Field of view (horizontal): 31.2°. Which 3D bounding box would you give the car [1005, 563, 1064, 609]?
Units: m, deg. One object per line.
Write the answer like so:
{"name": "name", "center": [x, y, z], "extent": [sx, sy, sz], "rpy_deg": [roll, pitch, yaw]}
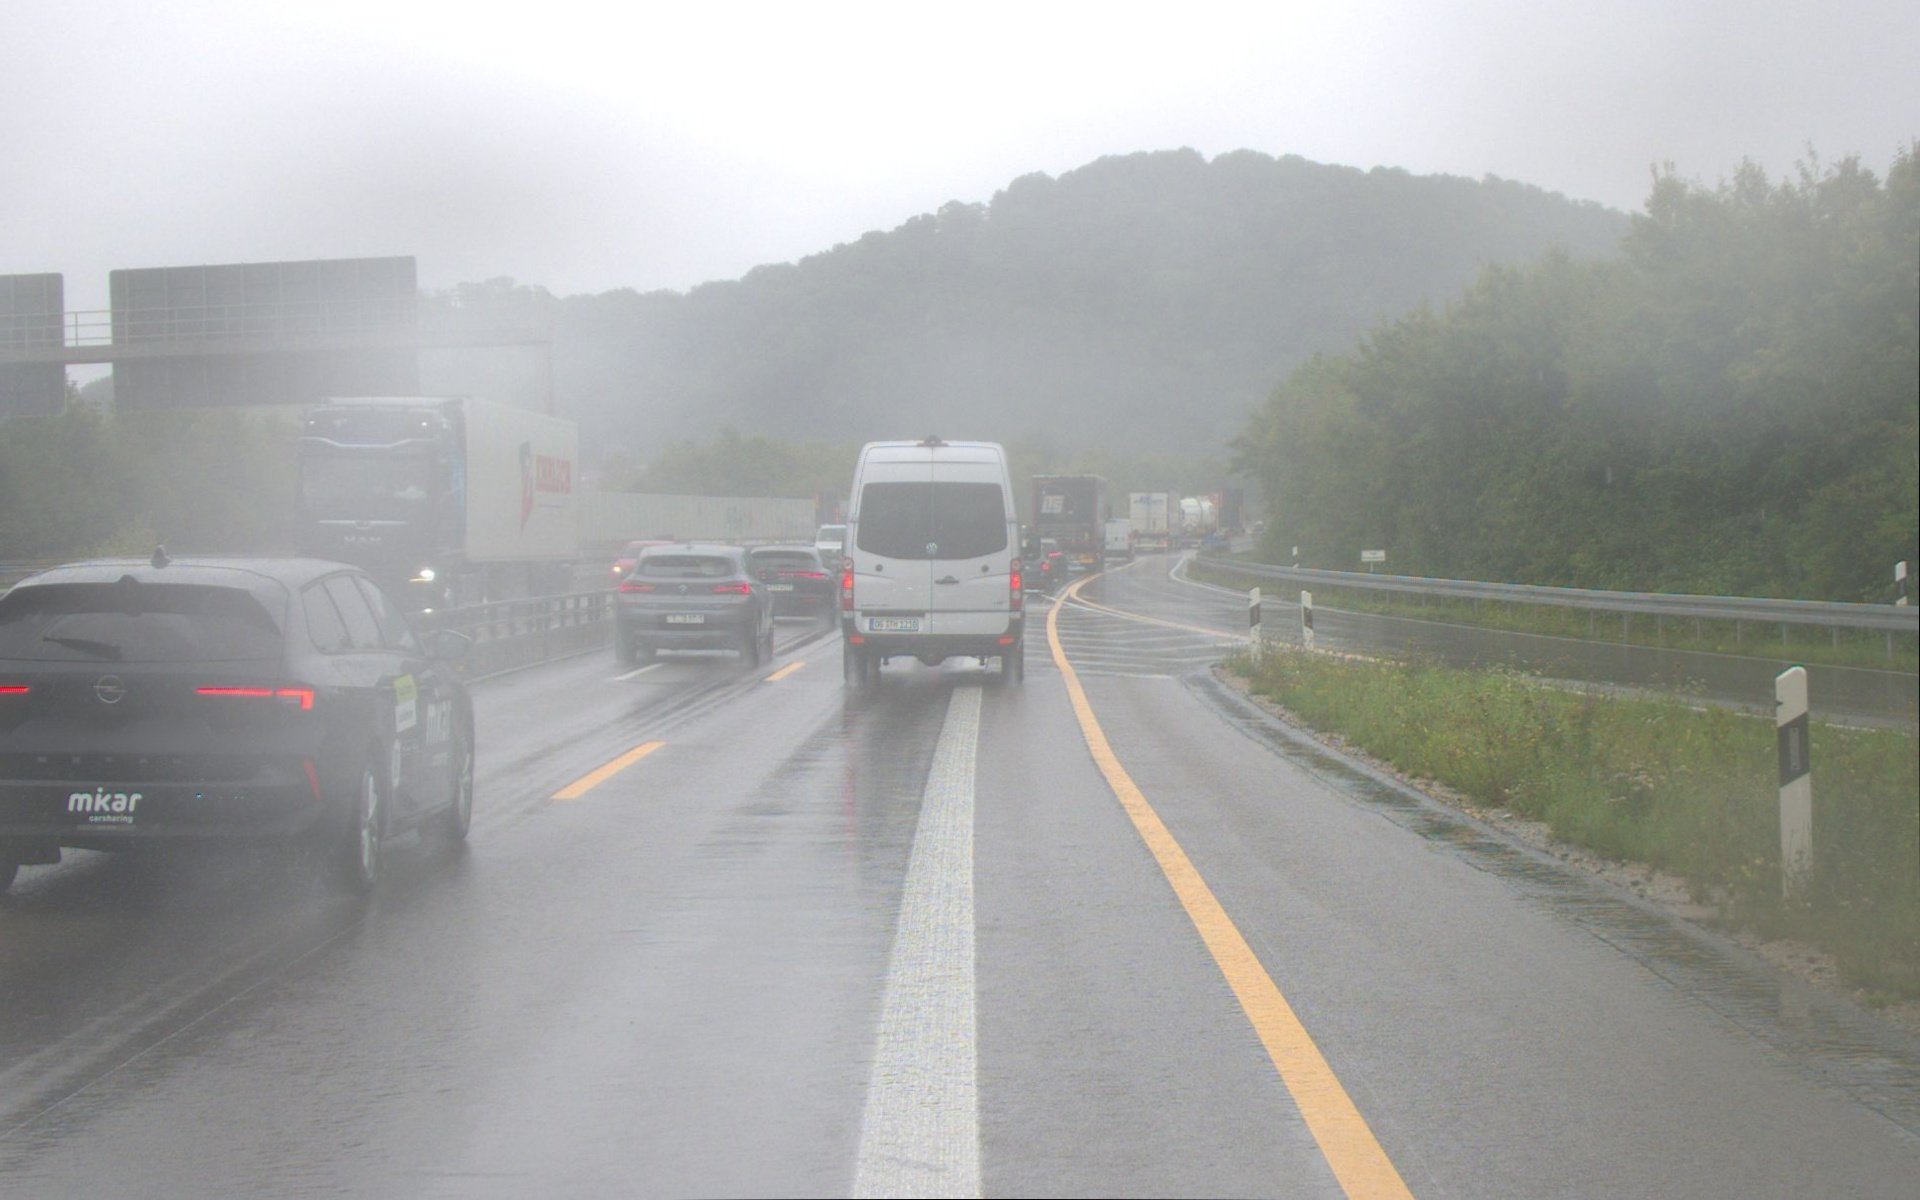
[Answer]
{"name": "car", "center": [2.061, -0.406, 95.646], "extent": [1.384, 1.252, 3.123], "rpy_deg": [0, 1, -3]}

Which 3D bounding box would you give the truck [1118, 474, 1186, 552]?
{"name": "truck", "center": [12.463, -5.552, 222.186], "extent": [3.929, 4.768, 9.905], "rpy_deg": [1, 0, 5]}

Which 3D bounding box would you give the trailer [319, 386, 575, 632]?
{"name": "trailer", "center": [-9.685, -1.619, 66.494], "extent": [2.893, 4.271, 12.895], "rpy_deg": [0, 0, 1]}

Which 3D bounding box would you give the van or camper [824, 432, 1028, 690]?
{"name": "van or camper", "center": [-0.314, -0.436, 38.586], "extent": [2.139, 2.712, 4.648], "rpy_deg": [0, 1, 1]}

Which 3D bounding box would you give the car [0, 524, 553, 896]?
{"name": "car", "center": [-3.057, 0.400, 15.723], "extent": [1.938, 1.422, 4.760], "rpy_deg": [1, 1, -2]}

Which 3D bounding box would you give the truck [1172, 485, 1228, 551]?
{"name": "truck", "center": [18.208, -6.158, 260.563], "extent": [3.929, 4.768, 9.905], "rpy_deg": [1, 0, 5]}

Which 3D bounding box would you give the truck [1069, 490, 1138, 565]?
{"name": "truck", "center": [7.590, -3.810, 182.957], "extent": [3.320, 3.749, 9.907], "rpy_deg": [1, 0, 1]}

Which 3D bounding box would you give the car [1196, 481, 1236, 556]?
{"name": "car", "center": [14.451, -4.558, 194.495], "extent": [2.058, 4.177, 6.745], "rpy_deg": [0, 1, 3]}

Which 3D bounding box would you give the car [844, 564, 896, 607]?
{"name": "car", "center": [-2.267, -0.376, 87.091], "extent": [1.262, 1.074, 3.255], "rpy_deg": [0, 1, -1]}

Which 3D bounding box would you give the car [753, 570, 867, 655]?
{"name": "car", "center": [-2.741, 0.211, 63.610], "extent": [1.852, 1.495, 4.000], "rpy_deg": [0, 1, 1]}

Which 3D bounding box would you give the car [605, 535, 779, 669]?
{"name": "car", "center": [-3.420, -0.003, 44.552], "extent": [1.867, 1.653, 3.988], "rpy_deg": [0, 1, 1]}

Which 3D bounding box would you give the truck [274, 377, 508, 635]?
{"name": "truck", "center": [-9.756, -1.560, 59.605], "extent": [2.889, 4.217, 6.326], "rpy_deg": [0, 0, 1]}

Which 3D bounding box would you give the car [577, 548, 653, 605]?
{"name": "car", "center": [-9.530, -0.655, 95.178], "extent": [1.608, 1.499, 4.217], "rpy_deg": [1, 0, 0]}

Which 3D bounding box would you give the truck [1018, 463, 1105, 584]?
{"name": "truck", "center": [4.134, -3.082, 142.307], "extent": [3.320, 4.768, 9.907], "rpy_deg": [1, 0, 1]}
